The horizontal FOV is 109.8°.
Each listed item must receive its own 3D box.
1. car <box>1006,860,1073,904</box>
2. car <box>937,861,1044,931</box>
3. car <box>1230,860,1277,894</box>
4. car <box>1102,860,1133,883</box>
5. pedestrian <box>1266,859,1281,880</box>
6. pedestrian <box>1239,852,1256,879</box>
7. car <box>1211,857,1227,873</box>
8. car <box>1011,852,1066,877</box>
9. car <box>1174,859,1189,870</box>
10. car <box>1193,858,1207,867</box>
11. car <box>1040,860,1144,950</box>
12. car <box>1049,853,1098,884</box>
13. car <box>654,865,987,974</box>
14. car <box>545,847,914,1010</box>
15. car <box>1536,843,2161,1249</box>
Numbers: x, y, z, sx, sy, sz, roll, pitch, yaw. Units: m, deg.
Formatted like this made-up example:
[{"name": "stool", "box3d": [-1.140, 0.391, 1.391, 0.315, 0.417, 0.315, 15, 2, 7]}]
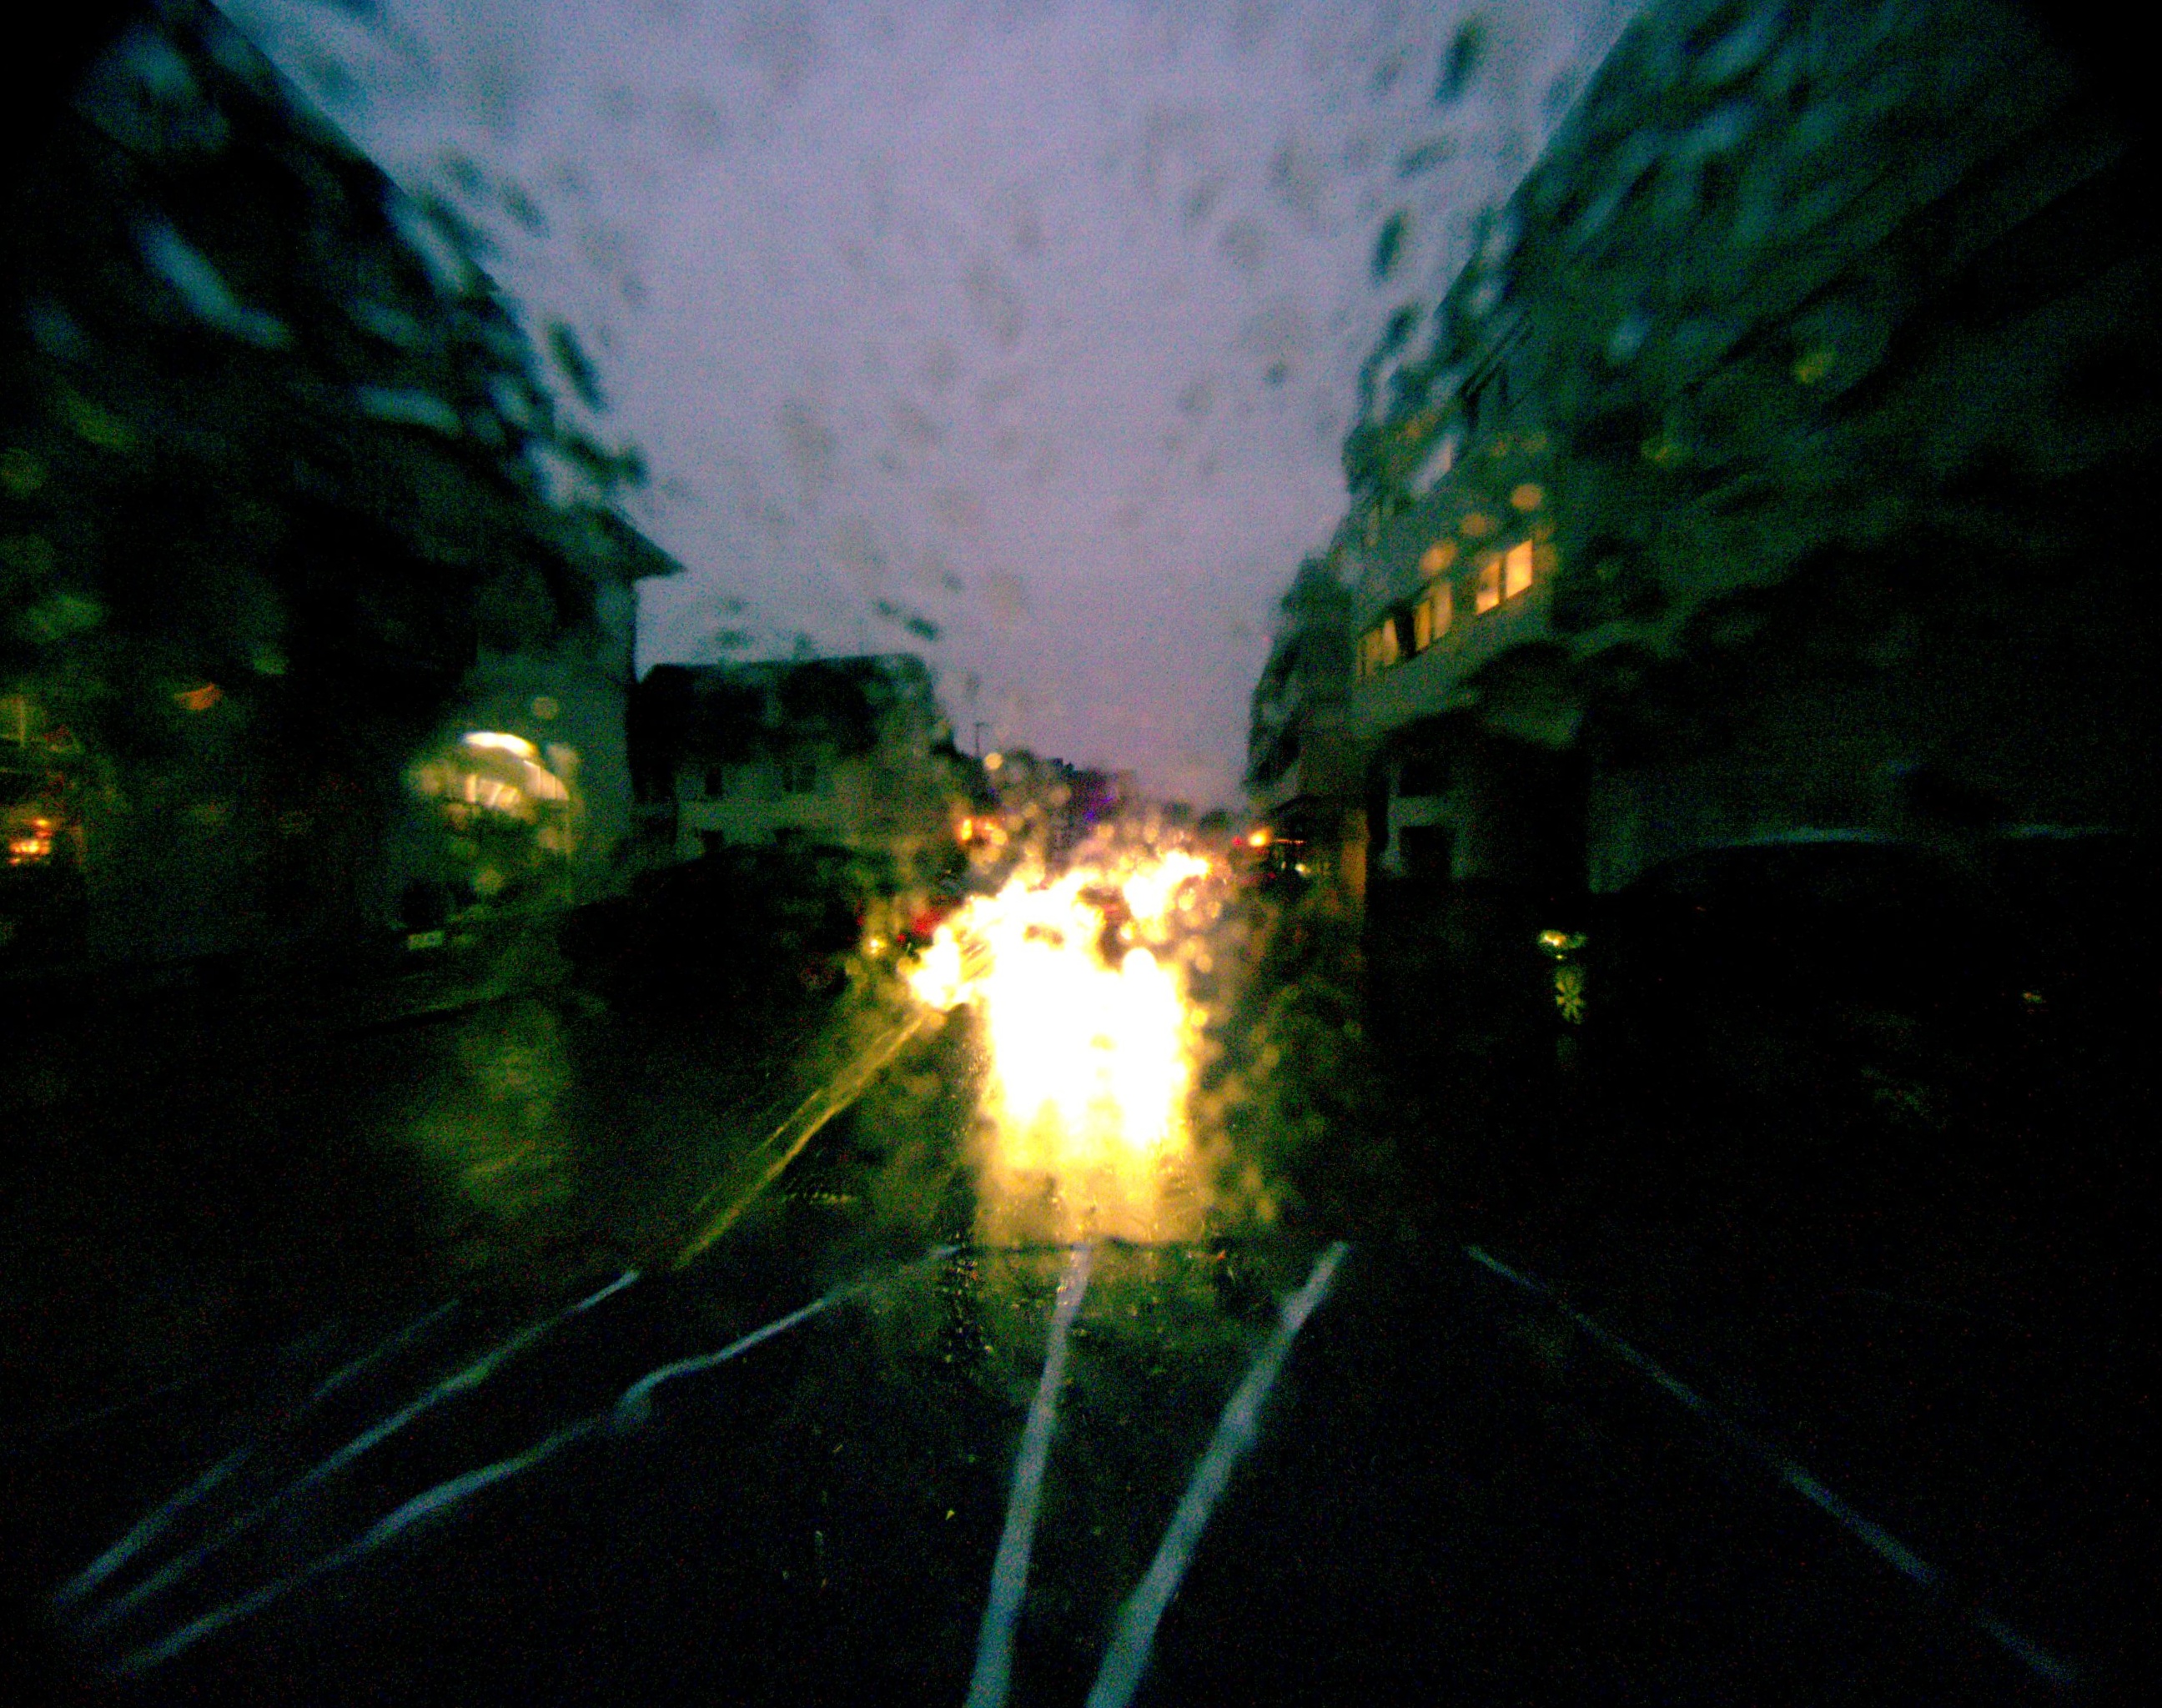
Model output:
[{"name": "car", "box3d": [-1.483, 0.984, 28.689, 1.798, 1.452, 4.532, 1, 0, 6]}, {"name": "car", "box3d": [-2.155, 0.959, 19.419, 1.886, 1.538, 4.672, 1, 0, 3]}, {"name": "car", "box3d": [7.886, 1.016, 35.112, 1.678, 1.438, 4.431, -1, 0, 7]}, {"name": "car", "box3d": [2.652, 1.214, 54.450, 1.797, 1.501, 4.003, 1, 0, 8]}, {"name": "pedestrian", "box3d": [12.093, 0.956, 47.751, 0.757, 1.302, 0.829, -1, 0, 7]}, {"name": "pedestrian", "box3d": [12.441, 0.853, 56.678, 1.200, 1.927, 0.978, 0, 0, 16]}, {"name": "car", "box3d": [15.468, 1.229, 85.281, 1.724, 1.604, 3.819, -2, -1, 10]}, {"name": "car", "box3d": [-2.750, 0.677, 50.068, 3.295, 1.433, 1.687, 3, 1, 8]}, {"name": "car", "box3d": [14.360, 1.499, 108.557, 1.797, 1.501, 4.004, 1, 0, 13]}, {"name": "car", "box3d": [20.132, 1.477, 128.561, 1.796, 1.501, 4.005, 1, 0, 17]}, {"name": "car", "box3d": [0.314, 0.952, 15.917, 1.878, 1.622, 4.001, -1, 0, 3]}, {"name": "car", "box3d": [-0.331, 0.712, 39.366, 1.826, 1.415, 4.611, 2, 1, 8]}, {"name": "car", "box3d": [-3.839, 0.948, 11.806, 4.478, 1.464, 1.898, 1, 0, 0]}, {"name": "car", "box3d": [-3.903, 0.814, 8.948, 3.514, 1.671, 1.715, 2, 0, -4]}, {"name": "car", "box3d": [5.034, 0.786, 5.005, 1.799, 1.633, 3.812, -2, 0, 1]}]
